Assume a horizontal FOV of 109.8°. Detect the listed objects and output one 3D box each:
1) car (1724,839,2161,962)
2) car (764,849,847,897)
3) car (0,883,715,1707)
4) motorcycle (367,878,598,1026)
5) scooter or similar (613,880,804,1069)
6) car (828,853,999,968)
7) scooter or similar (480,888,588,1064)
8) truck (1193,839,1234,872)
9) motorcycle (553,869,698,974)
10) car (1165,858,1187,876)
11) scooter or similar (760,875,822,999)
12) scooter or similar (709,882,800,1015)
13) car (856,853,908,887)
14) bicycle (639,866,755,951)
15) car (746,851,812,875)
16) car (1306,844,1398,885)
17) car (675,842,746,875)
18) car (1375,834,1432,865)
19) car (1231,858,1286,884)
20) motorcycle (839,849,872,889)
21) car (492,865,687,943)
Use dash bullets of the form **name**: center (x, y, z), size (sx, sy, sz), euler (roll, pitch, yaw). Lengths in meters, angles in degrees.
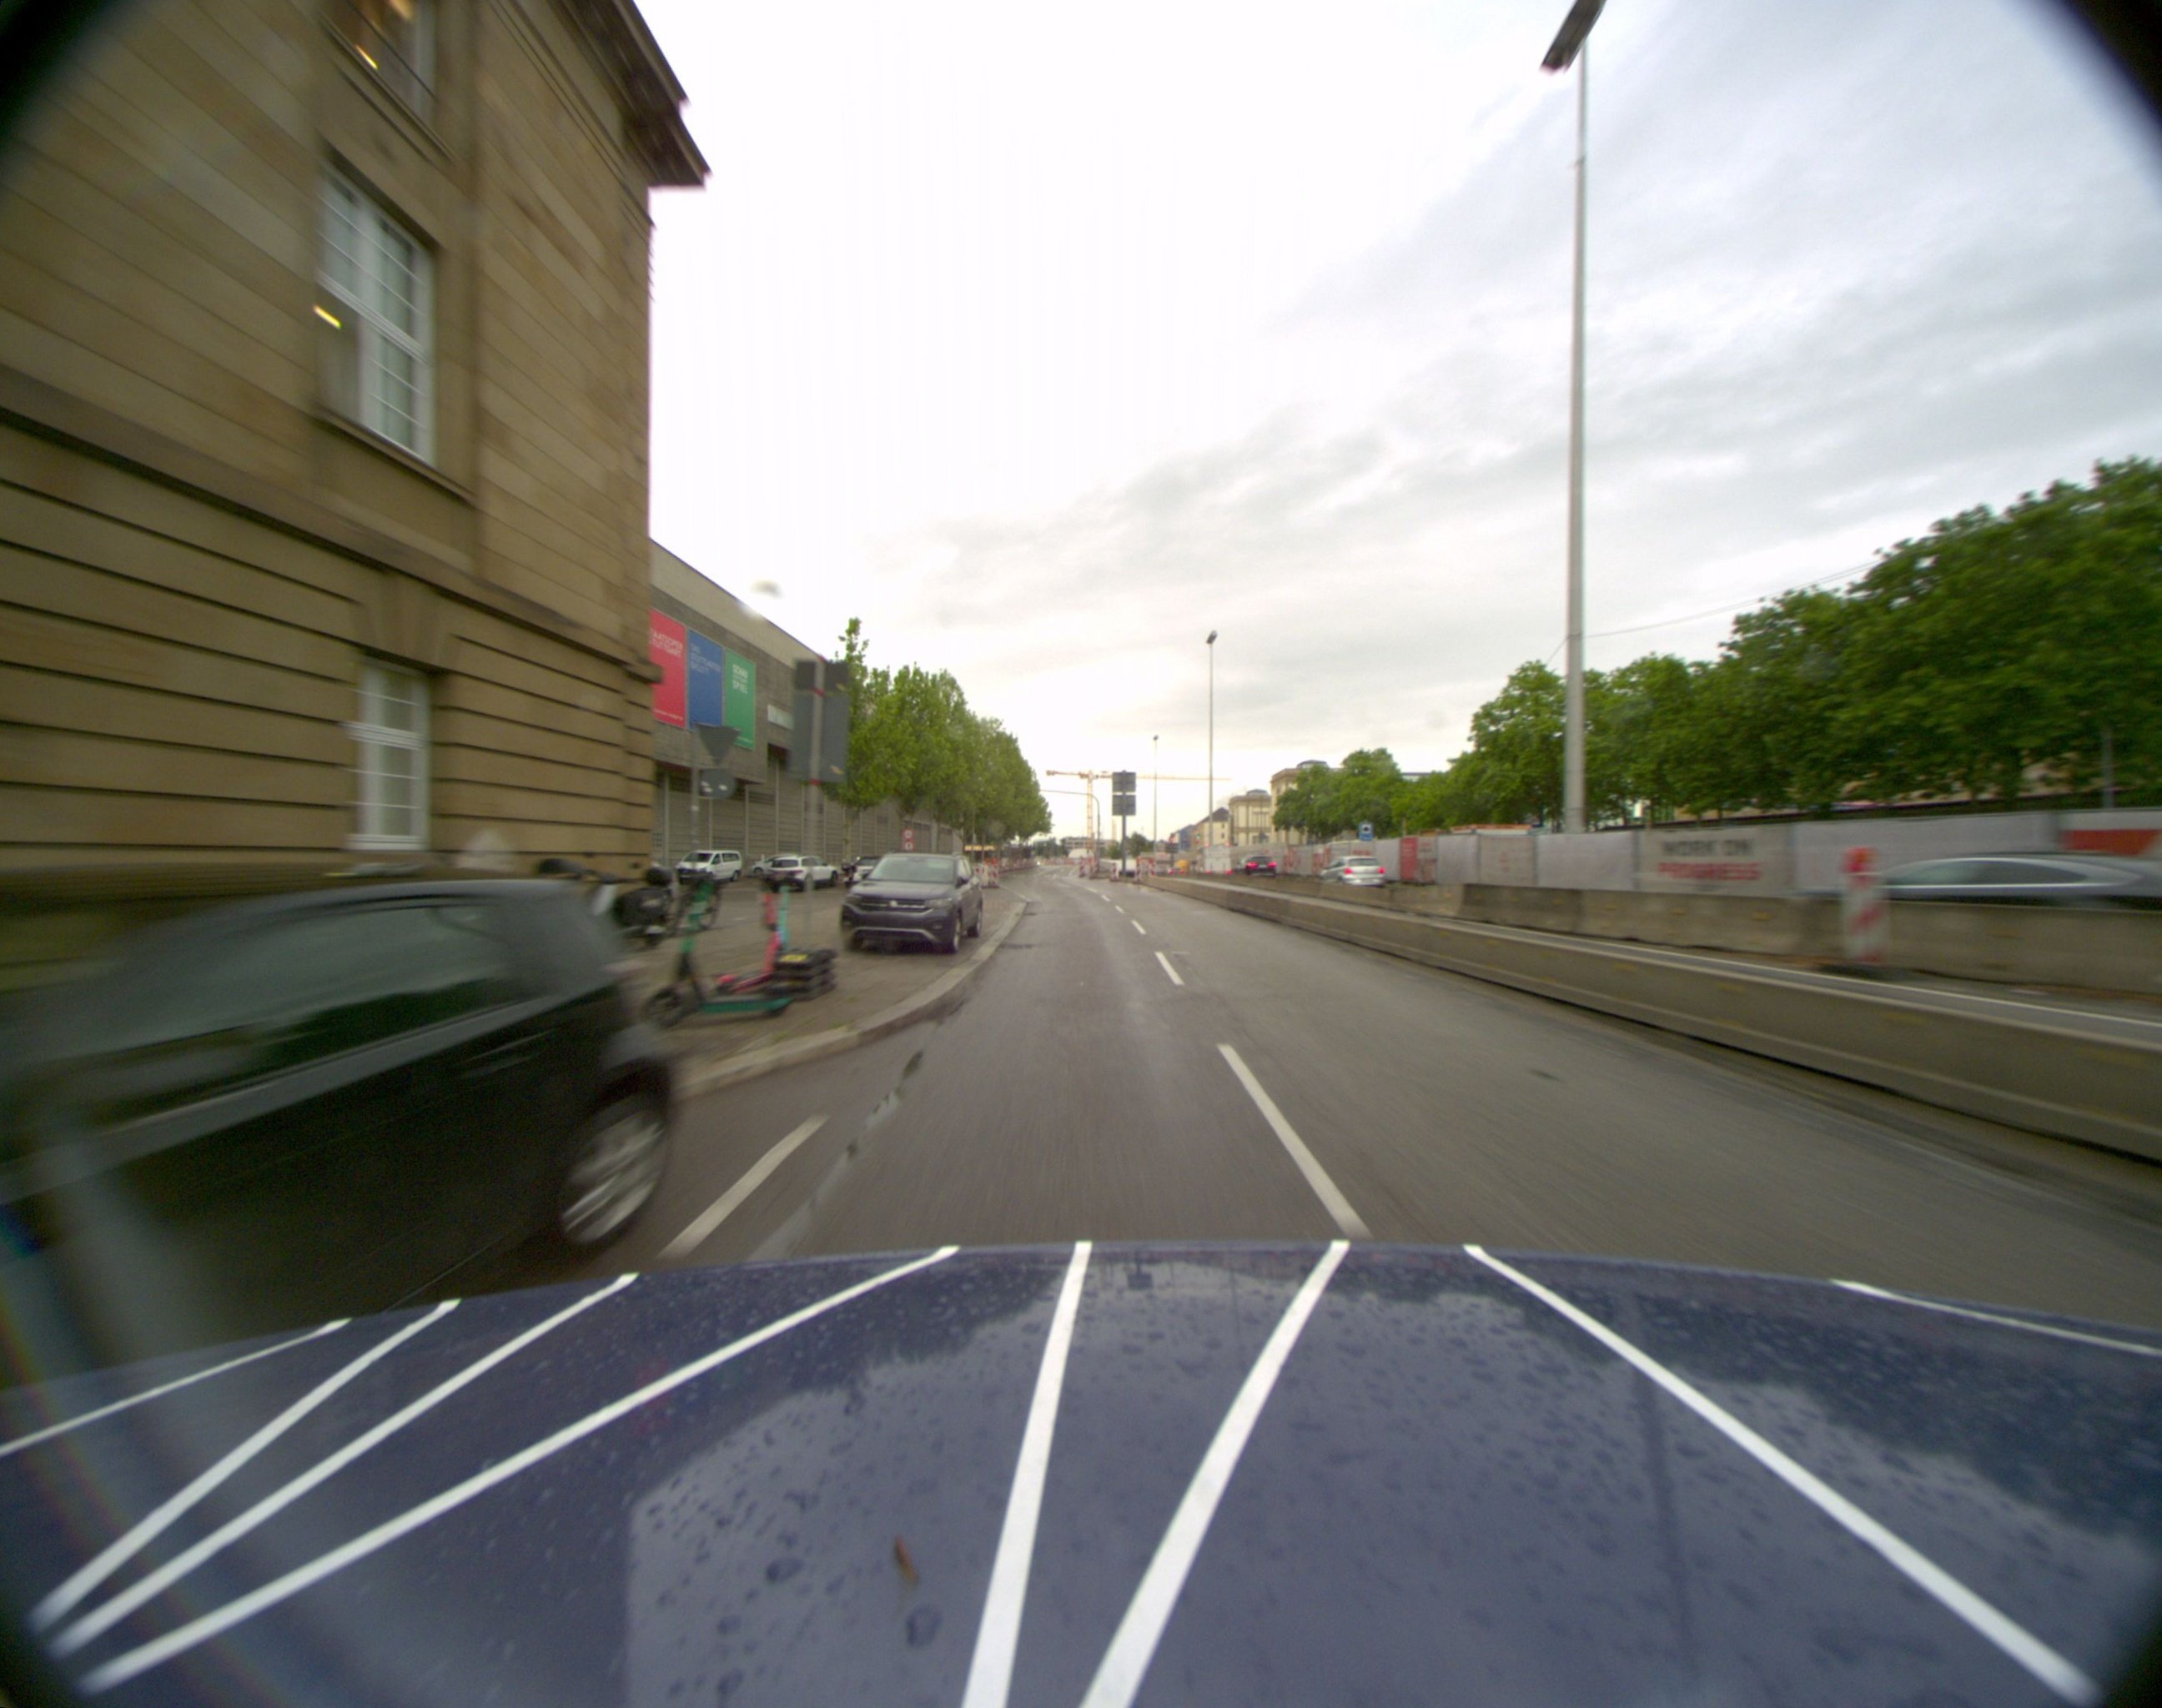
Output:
- **car**: center (11.602, 0.491, 9.879), size (1.781, 1.255, 4.761), euler (-2, 0, -15)
- **car**: center (-13.349, 0.991, 37.139), size (1.959, 1.671, 4.502), euler (-4, -9, 7)
- **car**: center (-2.751, 0.941, 1.933), size (1.762, 1.406, 3.153), euler (6, 1, 7)
- **motorcycle**: center (-6.390, 0.971, 8.315), size (0.668, 1.318, 2.135), euler (0, 1, 6)
- **scooter or similar**: center (-3.055, 0.927, 6.309), size (1.334, 1.360, 0.433), euler (-1, 1, -43)
- **car**: center (-2.630, 0.811, 13.056), size (1.876, 1.609, 4.404), euler (1, 0, 1)
- **scooter or similar**: center (-4.660, 0.976, 6.539), size (0.435, 1.285, 1.255), euler (-1, 1, -22)
- **truck**: center (11.374, 0.151, 65.764), size (2.403, 2.703, 7.355), euler (0, 0, 1)
- **motorcycle**: center (-6.302, 0.882, 10.652), size (0.808, 1.291, 1.799), euler (0, 1, 6)
- **car**: center (11.641, 1.596, 93.267), size (1.913, 2.002, 4.757), euler (1, 1, -1)
- **scooter or similar**: center (-3.344, 0.916, 8.812), size (0.435, 1.312, 1.076), euler (-1, 1, -9)
- **scooter or similar**: center (-3.325, 0.925, 7.810), size (0.434, 1.210, 1.122), euler (2, 1, -1)
- **car**: center (-9.754, 0.763, 37.464), size (1.585, 1.528, 3.021), euler (1, 1, 4)
- **bicycle**: center (-6.608, 0.903, 13.225), size (1.105, 1.309, 1.858), euler (-1, 1, -2)
- **car**: center (-20.712, 0.611, 52.219), size (3.847, 1.570, 1.779), euler (1, 1, 1)
- **car**: center (10.857, 0.405, 30.756), size (2.000, 1.521, 3.998), euler (0, 0, -6)
- **car**: center (-21.504, 0.239, 44.302), size (1.777, 1.777, 4.883), euler (1, 1, -1)
- **car**: center (21.822, -0.254, 51.558), size (1.998, 2.001, 4.718), euler (-1, -1, 2)
- **car**: center (11.040, 1.003, 47.582), size (1.926, 1.521, 4.758), euler (0, 0, -6)
- **motorcycle**: center (-11.142, 0.691, 37.568), size (0.750, 1.893, 2.590), euler (-2, 1, 1)
- **car**: center (-10.525, 0.986, 16.679), size (1.524, 1.402, 4.127), euler (0, 1, 1)
